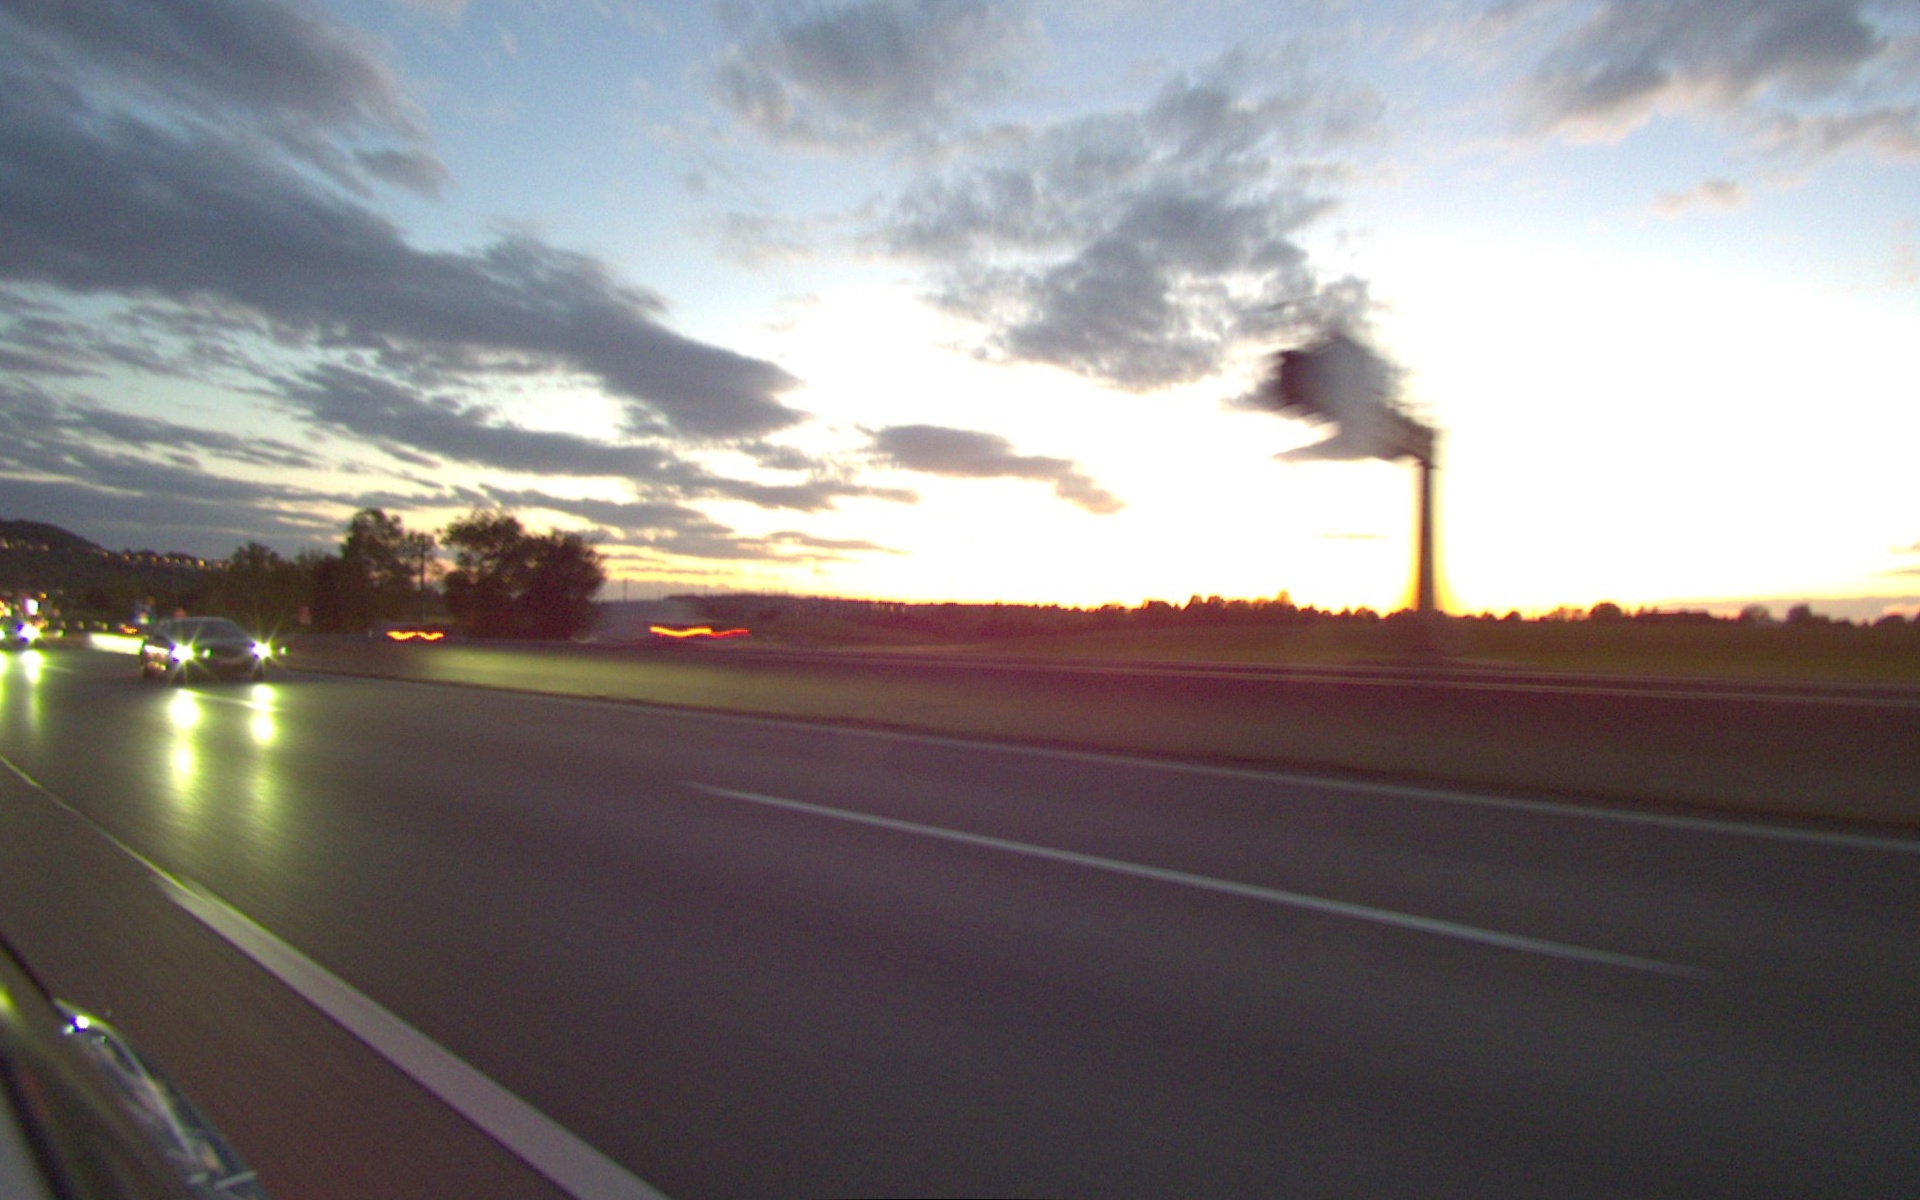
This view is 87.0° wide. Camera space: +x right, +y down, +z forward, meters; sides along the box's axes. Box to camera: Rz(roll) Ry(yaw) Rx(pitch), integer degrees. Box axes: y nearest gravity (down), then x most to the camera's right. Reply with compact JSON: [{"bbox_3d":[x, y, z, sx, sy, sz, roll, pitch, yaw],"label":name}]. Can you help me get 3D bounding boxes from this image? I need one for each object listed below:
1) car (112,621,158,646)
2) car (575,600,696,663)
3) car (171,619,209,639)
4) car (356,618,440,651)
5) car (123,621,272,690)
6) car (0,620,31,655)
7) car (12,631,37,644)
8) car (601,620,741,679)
[{"bbox_3d":[-56.303,2.253,69.016,4.624,1.629,1.681,-1,0,41],"label":"car"},{"bbox_3d":[-13.325,1.217,41.291,5.833,2.405,1.973,-1,0,41],"label":"car"},{"bbox_3d":[-66.973,2.469,87.992,4.792,1.656,1.643,-1,0,41],"label":"car"},{"bbox_3d":[-26.450,1.581,47.582,4.657,1.423,1.973,-1,0,41],"label":"car"},{"bbox_3d":[-18.650,1.270,24.635,5.391,1.448,1.796,-1,0,41],"label":"car"},{"bbox_3d":[-47.698,1.837,50.204,4.853,1.660,1.796,-1,0,41],"label":"car"},{"bbox_3d":[-116.138,4.609,125.578,4.272,1.465,1.841,-1,0,41],"label":"car"},{"bbox_3d":[-7.616,1.239,26.513,3.899,1.380,1.714,-1,0,41],"label":"car"}]
